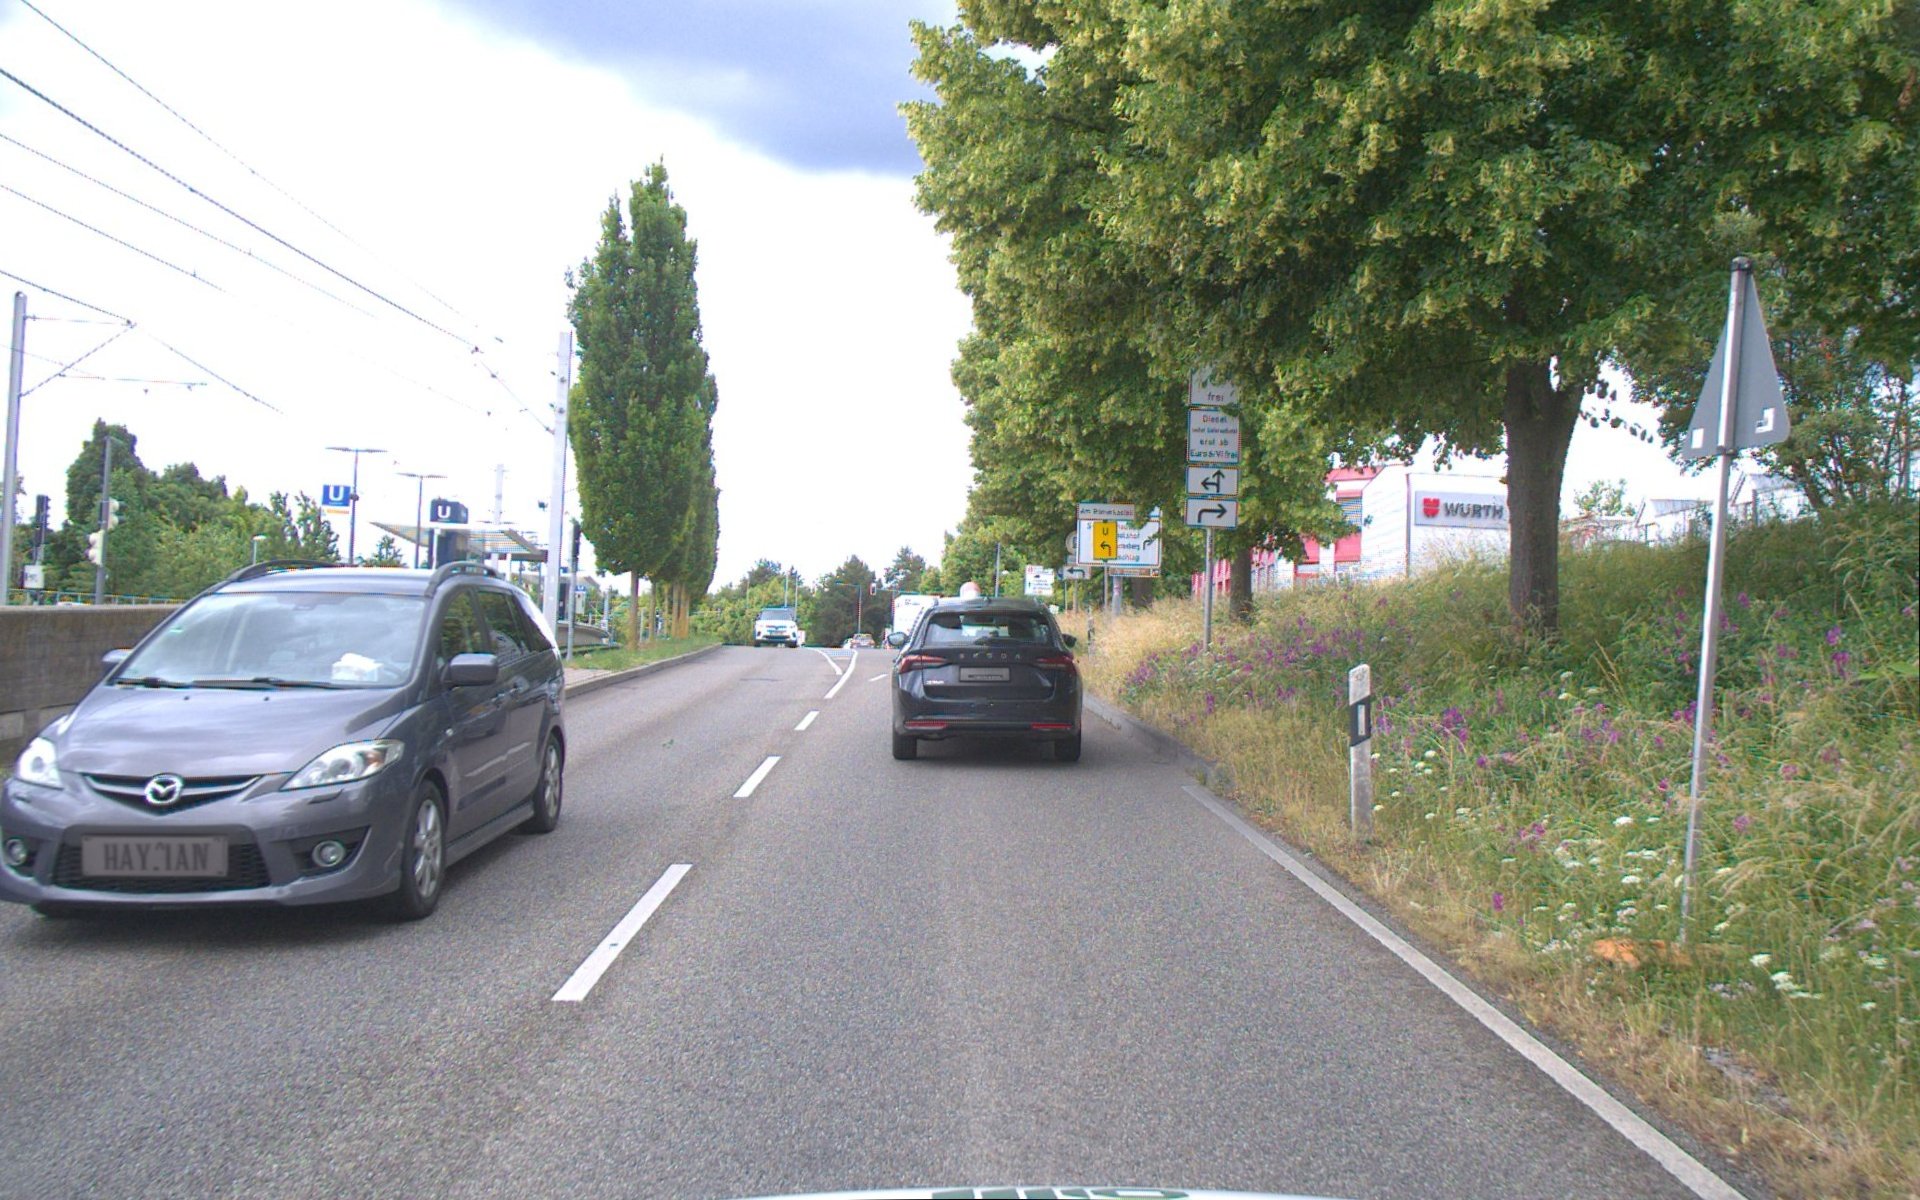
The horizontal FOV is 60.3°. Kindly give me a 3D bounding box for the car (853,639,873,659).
[{"bbox_3d":[-7.317,3.677,124.594,1.495,1.378,3.487,1,0,-4],"label":"car"}]

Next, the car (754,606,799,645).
[{"bbox_3d":[-7.540,1.021,68.067,1.682,1.548,3.741,1,0,-4],"label":"car"}]

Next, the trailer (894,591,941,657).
[{"bbox_3d":[-2.932,1.698,112.051,2.516,3.772,7.751,1,-6,-6],"label":"trailer"}]

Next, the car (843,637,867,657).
[{"bbox_3d":[-8.469,3.817,133.520,1.689,1.447,4.349,1,-3,-7],"label":"car"}]

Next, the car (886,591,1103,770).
[{"bbox_3d":[0.400,0.673,16.202,1.797,1.457,4.280,2,0,3],"label":"car"}]

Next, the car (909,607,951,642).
[{"bbox_3d":[-1.426,1.121,77.363,1.665,1.512,3.996,2,0,-5],"label":"car"}]

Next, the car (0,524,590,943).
[{"bbox_3d":[-3.297,0.537,8.858,1.786,1.686,4.244,1,0,-2],"label":"car"}]

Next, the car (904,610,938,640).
[{"bbox_3d":[-2.110,1.329,87.630,1.638,1.473,4.485,1,-2,-3],"label":"car"}]

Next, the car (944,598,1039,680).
[{"bbox_3d":[0.566,0.736,32.429,1.591,1.483,3.686,1,0,-3],"label":"car"}]

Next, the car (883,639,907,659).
[{"bbox_3d":[-4.984,3.769,127.266,1.776,1.378,4.115,2,-1,-3],"label":"car"}]

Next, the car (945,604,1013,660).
[{"bbox_3d":[0.512,0.911,47.262,1.684,1.483,3.694,1,-1,-3],"label":"car"}]
